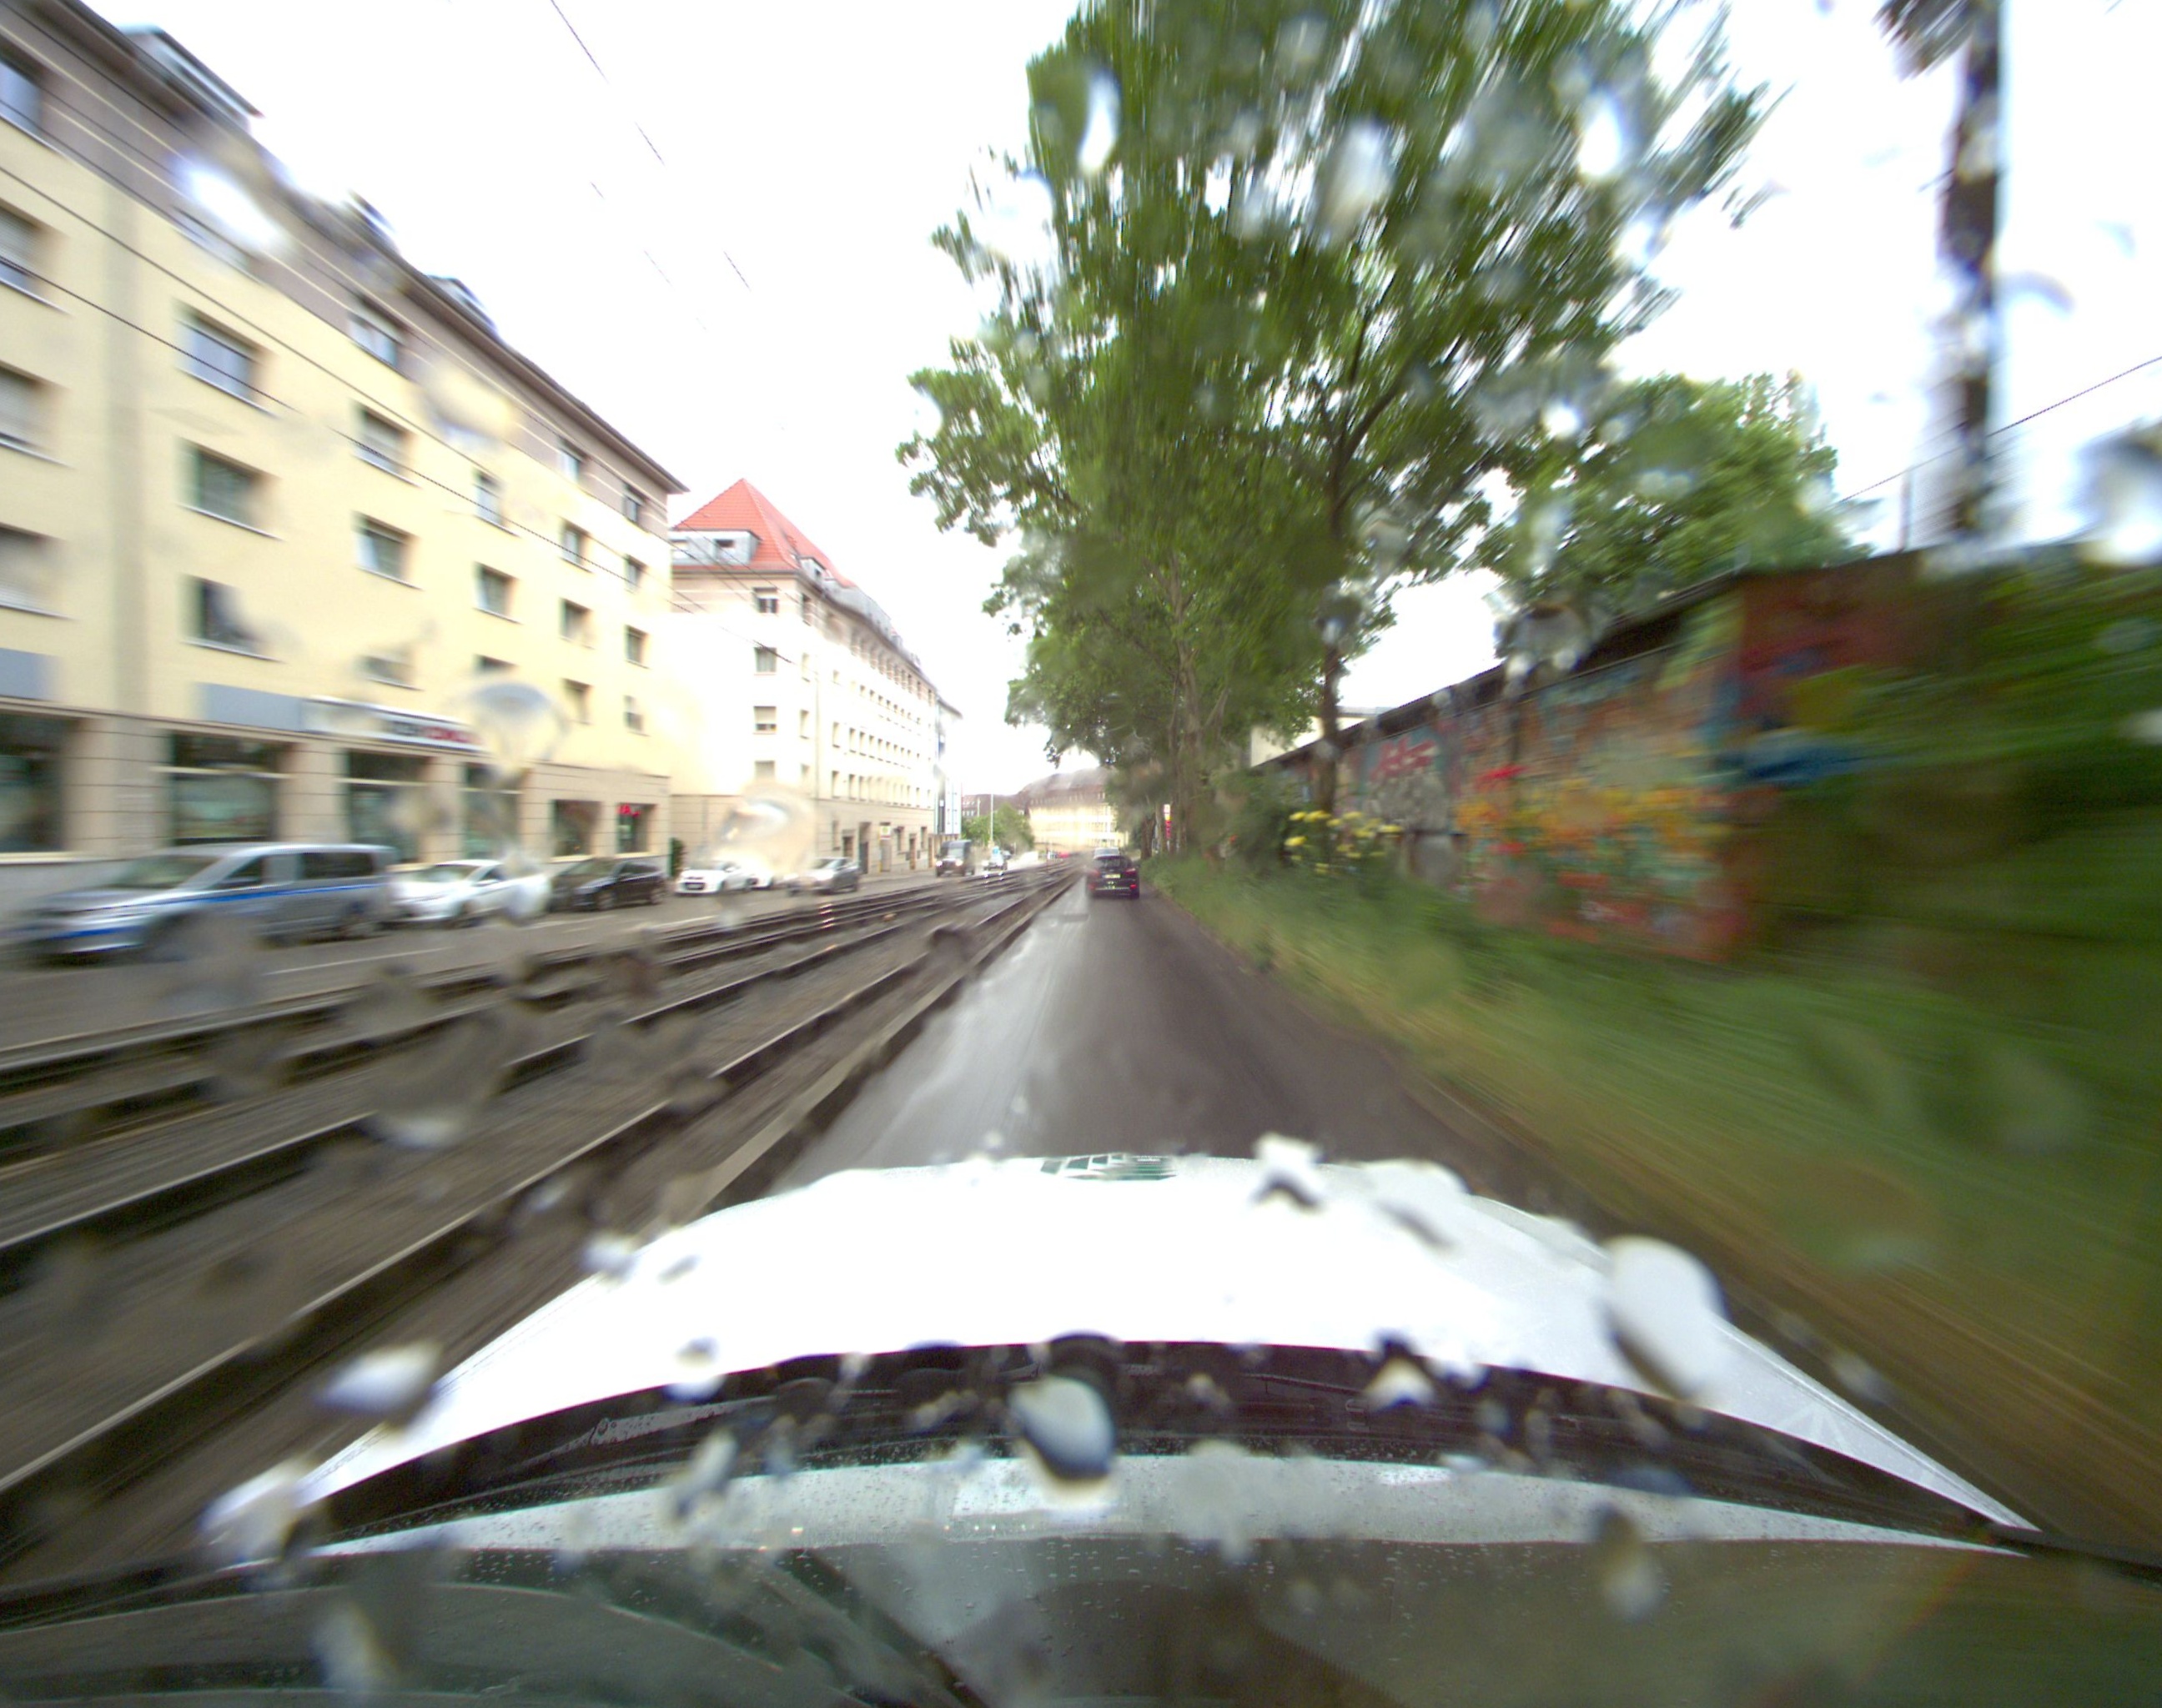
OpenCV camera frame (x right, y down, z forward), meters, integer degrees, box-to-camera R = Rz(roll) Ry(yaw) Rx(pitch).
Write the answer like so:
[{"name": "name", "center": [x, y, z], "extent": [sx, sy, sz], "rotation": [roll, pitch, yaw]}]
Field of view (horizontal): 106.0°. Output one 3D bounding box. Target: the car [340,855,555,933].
[{"name": "car", "center": [-14.321, 0.825, 18.754], "extent": [1.686, 1.439, 4.048], "rotation": [-5, 0, -1]}]

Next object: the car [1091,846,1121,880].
[{"name": "car", "center": [1.506, 0.552, 50.763], "extent": [1.735, 2.014, 3.902], "rotation": [0, -1, 0]}]

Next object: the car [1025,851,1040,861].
[{"name": "car", "center": [-7.767, 0.323, 130.423], "extent": [1.792, 1.482, 4.843], "rotation": [-1, -1, 3]}]

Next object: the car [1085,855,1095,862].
[{"name": "car", "center": [1.924, 0.903, 173.163], "extent": [1.655, 1.476, 3.635], "rotation": [0, -1, -7]}]

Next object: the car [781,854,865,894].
[{"name": "car", "center": [-10.168, 0.761, 32.428], "extent": [1.704, 1.462, 4.284], "rotation": [-1, 0, 3]}]

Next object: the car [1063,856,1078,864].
[{"name": "car", "center": [-2.299, 1.333, 181.702], "extent": [1.591, 1.542, 3.959], "rotation": [0, -1, -33]}]

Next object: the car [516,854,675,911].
[{"name": "car", "center": [-14.077, 0.774, 23.968], "extent": [1.807, 1.499, 4.583], "rotation": [1, 0, 1]}]

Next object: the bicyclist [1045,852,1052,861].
[{"name": "bicyclist", "center": [-5.018, 0.390, 127.436], "extent": [0.777, 1.313, 0.782], "rotation": [-2, 0, -35]}]

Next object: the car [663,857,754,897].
[{"name": "car", "center": [-14.196, 0.842, 31.285], "extent": [1.698, 1.396, 3.935], "rotation": [0, 0, 0]}]

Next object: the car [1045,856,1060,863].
[{"name": "car", "center": [-6.716, 1.215, 191.062], "extent": [2.004, 1.542, 3.966], "rotation": [-2, 0, -25]}]

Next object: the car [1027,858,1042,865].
[{"name": "car", "center": [-11.440, 1.842, 198.729], "extent": [2.006, 1.542, 3.960], "rotation": [0, -1, -31]}]

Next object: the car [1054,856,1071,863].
[{"name": "car", "center": [-4.249, 1.249, 185.916], "extent": [2.008, 1.542, 3.957], "rotation": [0, -1, -34]}]

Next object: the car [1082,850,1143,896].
[{"name": "car", "center": [1.016, 0.621, 28.176], "extent": [1.927, 1.453, 4.316], "rotation": [0, -1, 0]}]

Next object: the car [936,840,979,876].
[{"name": "car", "center": [-8.827, 0.344, 58.667], "extent": [1.986, 2.452, 6.000], "rotation": [-1, -1, 2]}]

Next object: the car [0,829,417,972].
[{"name": "car", "center": [-14.498, 0.618, 13.728], "extent": [1.986, 1.905, 5.461], "rotation": [1, 0, 1]}]

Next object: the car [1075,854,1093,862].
[{"name": "car", "center": [0.587, 0.844, 176.890], "extent": [2.007, 1.542, 3.959], "rotation": [0, -1, -33]}]

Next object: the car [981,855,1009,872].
[{"name": "car", "center": [-8.063, 0.886, 76.905], "extent": [1.873, 1.486, 4.857], "rotation": [-1, 1, 2]}]

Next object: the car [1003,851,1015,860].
[{"name": "car", "center": [-12.801, 0.320, 144.916], "extent": [1.992, 1.542, 3.989], "rotation": [0, -1, -8]}]

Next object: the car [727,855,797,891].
[{"name": "car", "center": [-14.052, 0.826, 36.095], "extent": [1.703, 1.450, 3.540], "rotation": [2, -1, -1]}]
